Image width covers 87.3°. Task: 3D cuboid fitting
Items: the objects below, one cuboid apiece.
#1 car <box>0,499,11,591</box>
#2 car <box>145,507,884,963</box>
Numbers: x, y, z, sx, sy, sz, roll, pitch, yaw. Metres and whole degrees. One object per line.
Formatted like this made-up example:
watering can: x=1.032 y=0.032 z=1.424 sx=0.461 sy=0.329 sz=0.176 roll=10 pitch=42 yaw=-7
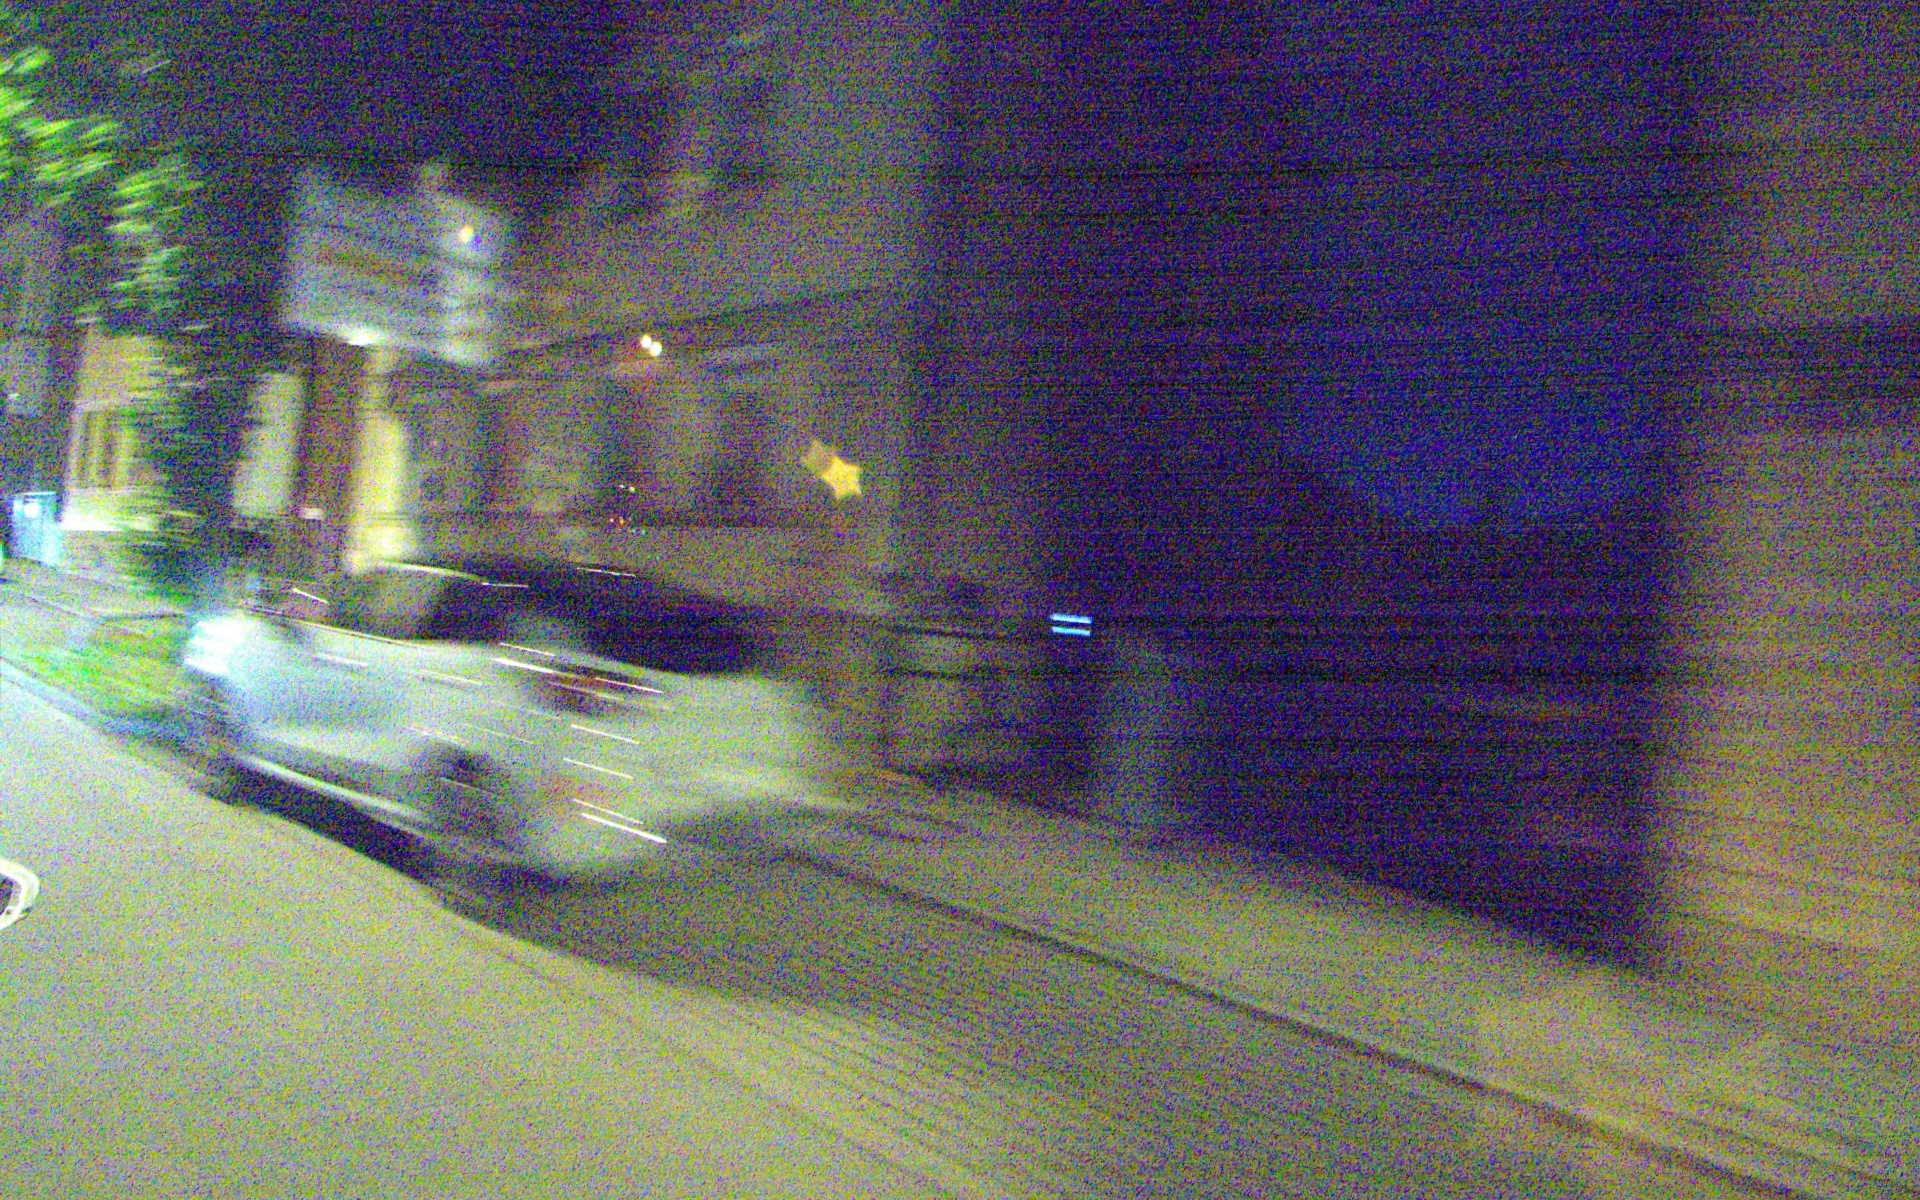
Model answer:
car: x=-17.719 y=-1.124 z=16.997 sx=3.546 sy=1.503 sz=1.668 roll=6 pitch=0 yaw=34
car: x=-2.638 y=0.475 z=5.695 sx=3.979 sy=1.573 sz=1.861 roll=6 pitch=0 yaw=33
